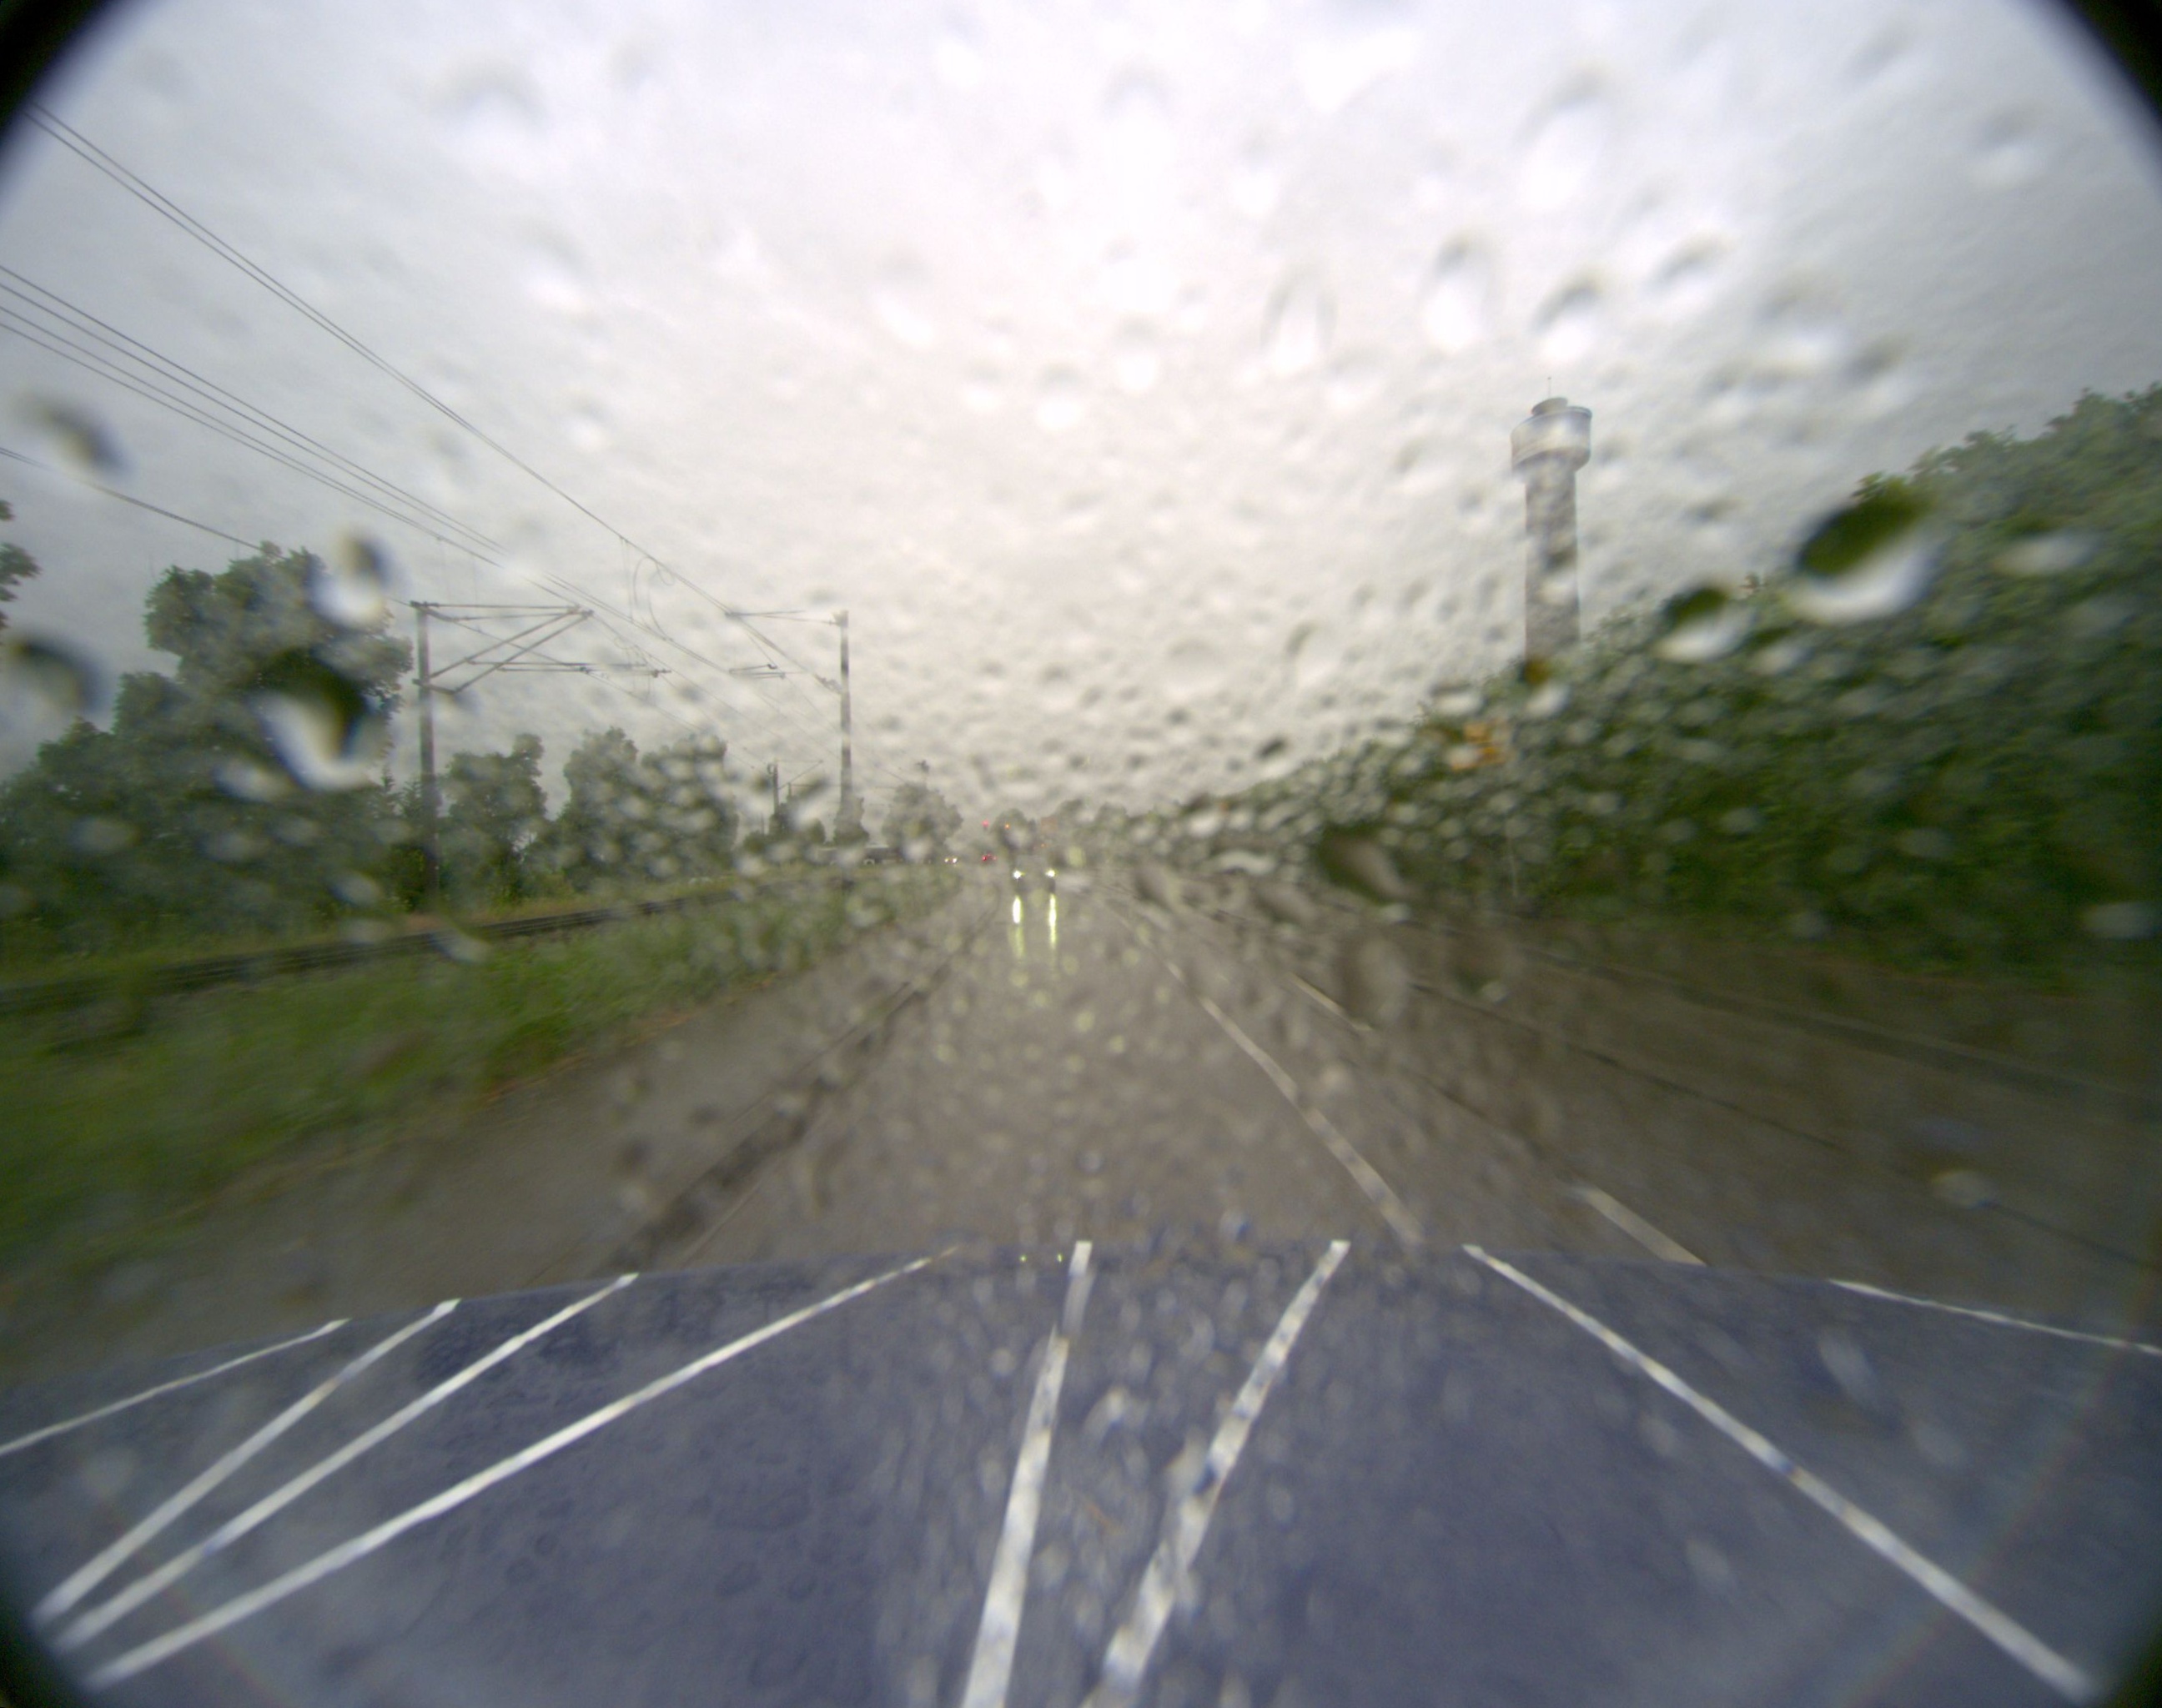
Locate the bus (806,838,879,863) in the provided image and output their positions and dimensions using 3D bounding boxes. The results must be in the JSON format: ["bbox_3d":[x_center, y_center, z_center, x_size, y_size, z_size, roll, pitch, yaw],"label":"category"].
[{"bbox_3d":[-33.046,-0.454,105.239,9.972,3.059,2.682,-2,1,21],"label":"bus"}]

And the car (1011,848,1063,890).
[{"bbox_3d":[-1.975,0.606,33.175,1.999,1.622,3.997,-2,1,-6],"label":"car"}]

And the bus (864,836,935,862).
[{"bbox_3d":[-24.179,-0.652,100.917,9.967,3.059,2.683,-1,1,31],"label":"bus"}]

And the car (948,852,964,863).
[{"bbox_3d":[-24.903,0.707,151.685,1.919,2.002,4.001,-2,1,7],"label":"car"}]

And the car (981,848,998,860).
[{"bbox_3d":[-12.265,0.032,101.831,1.768,1.528,3.872,-1,0,-14],"label":"car"}]
